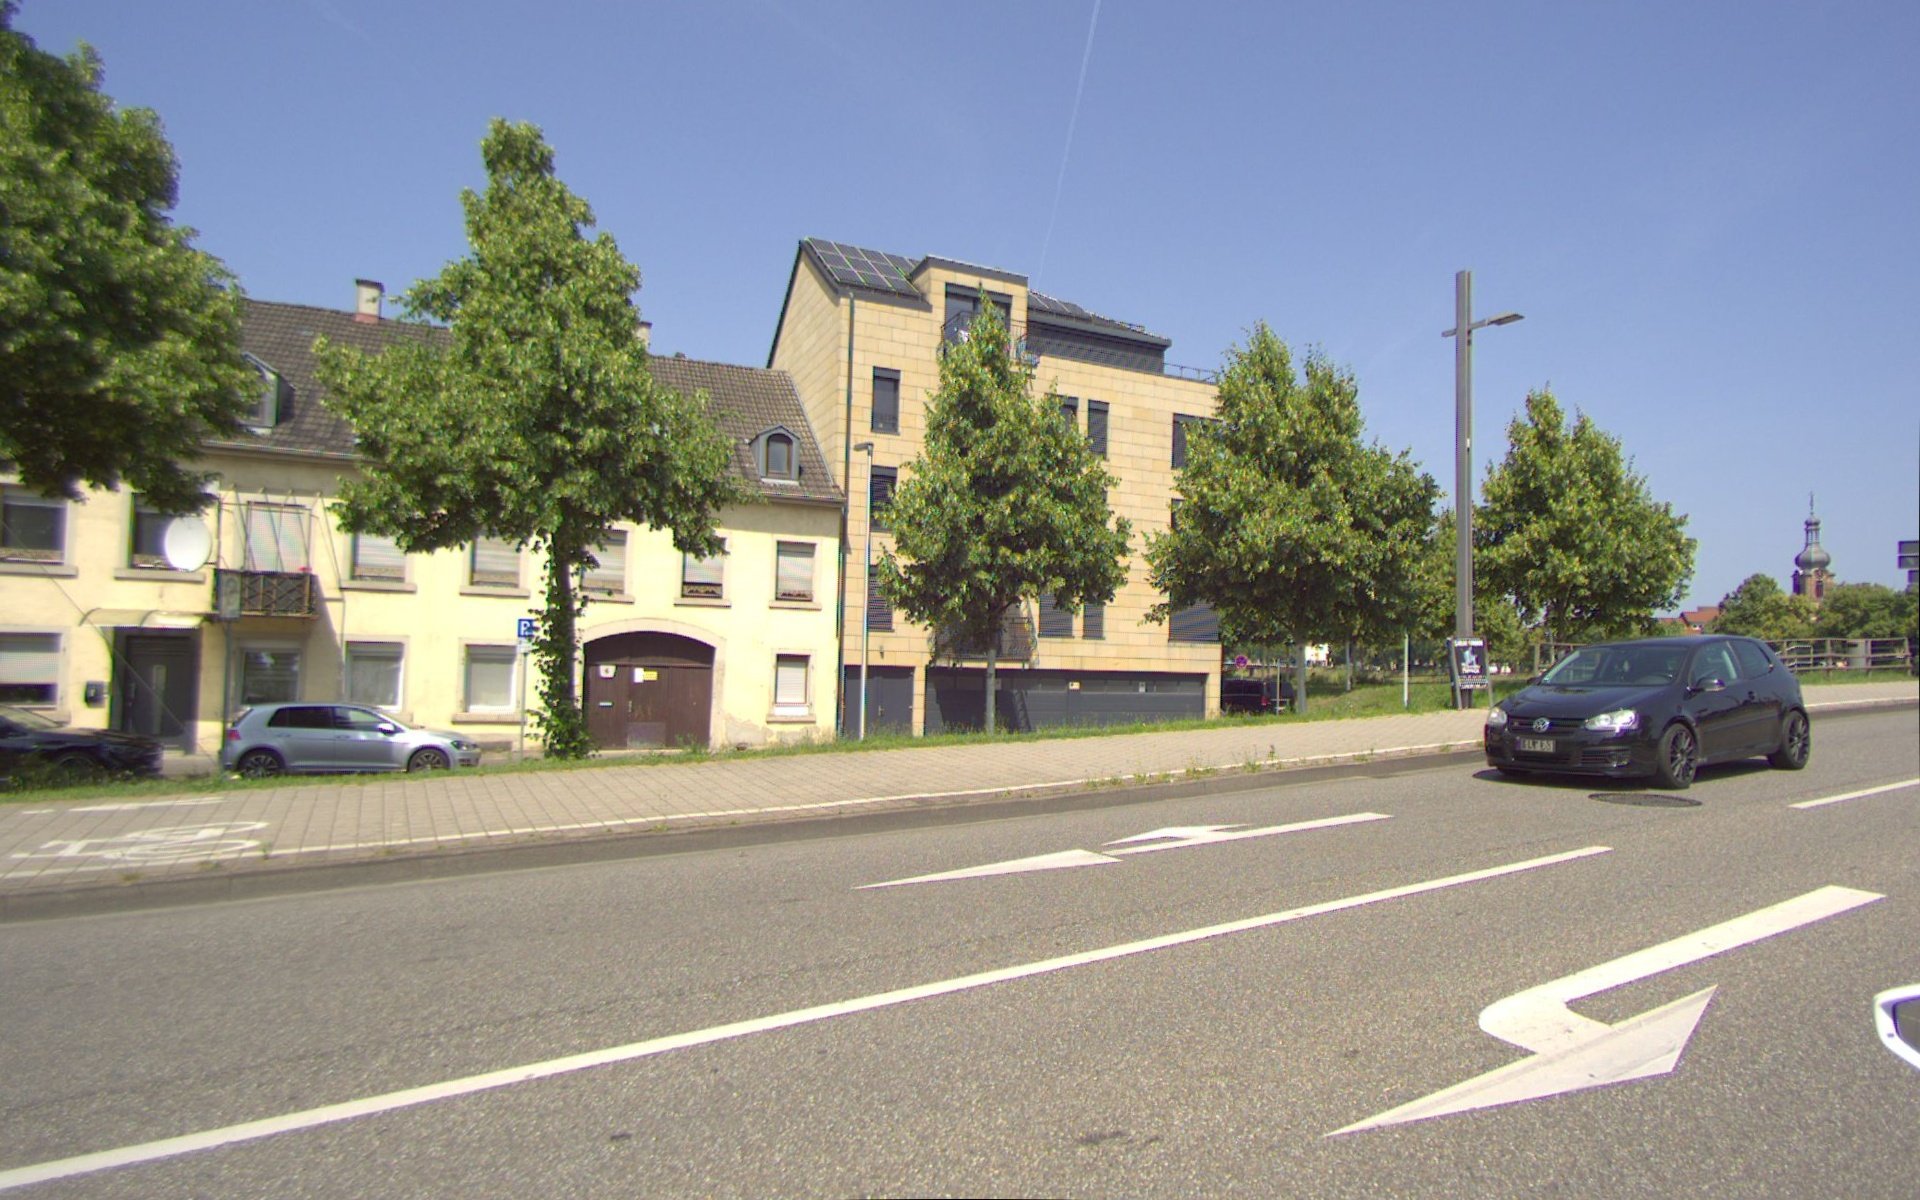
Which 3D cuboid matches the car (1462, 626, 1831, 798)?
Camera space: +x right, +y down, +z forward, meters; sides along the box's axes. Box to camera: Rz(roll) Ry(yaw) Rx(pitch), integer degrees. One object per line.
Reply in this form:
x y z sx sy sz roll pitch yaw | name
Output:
7.467 1.084 10.860 3.983 1.504 1.706 0 -3 -30 | car

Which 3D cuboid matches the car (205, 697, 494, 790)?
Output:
-11.195 2.616 18.830 4.368 1.451 1.771 3 -2 -24 | car

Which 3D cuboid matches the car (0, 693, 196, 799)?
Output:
-16.112 2.373 16.556 5.214 1.649 1.811 3 -6 -24 | car
